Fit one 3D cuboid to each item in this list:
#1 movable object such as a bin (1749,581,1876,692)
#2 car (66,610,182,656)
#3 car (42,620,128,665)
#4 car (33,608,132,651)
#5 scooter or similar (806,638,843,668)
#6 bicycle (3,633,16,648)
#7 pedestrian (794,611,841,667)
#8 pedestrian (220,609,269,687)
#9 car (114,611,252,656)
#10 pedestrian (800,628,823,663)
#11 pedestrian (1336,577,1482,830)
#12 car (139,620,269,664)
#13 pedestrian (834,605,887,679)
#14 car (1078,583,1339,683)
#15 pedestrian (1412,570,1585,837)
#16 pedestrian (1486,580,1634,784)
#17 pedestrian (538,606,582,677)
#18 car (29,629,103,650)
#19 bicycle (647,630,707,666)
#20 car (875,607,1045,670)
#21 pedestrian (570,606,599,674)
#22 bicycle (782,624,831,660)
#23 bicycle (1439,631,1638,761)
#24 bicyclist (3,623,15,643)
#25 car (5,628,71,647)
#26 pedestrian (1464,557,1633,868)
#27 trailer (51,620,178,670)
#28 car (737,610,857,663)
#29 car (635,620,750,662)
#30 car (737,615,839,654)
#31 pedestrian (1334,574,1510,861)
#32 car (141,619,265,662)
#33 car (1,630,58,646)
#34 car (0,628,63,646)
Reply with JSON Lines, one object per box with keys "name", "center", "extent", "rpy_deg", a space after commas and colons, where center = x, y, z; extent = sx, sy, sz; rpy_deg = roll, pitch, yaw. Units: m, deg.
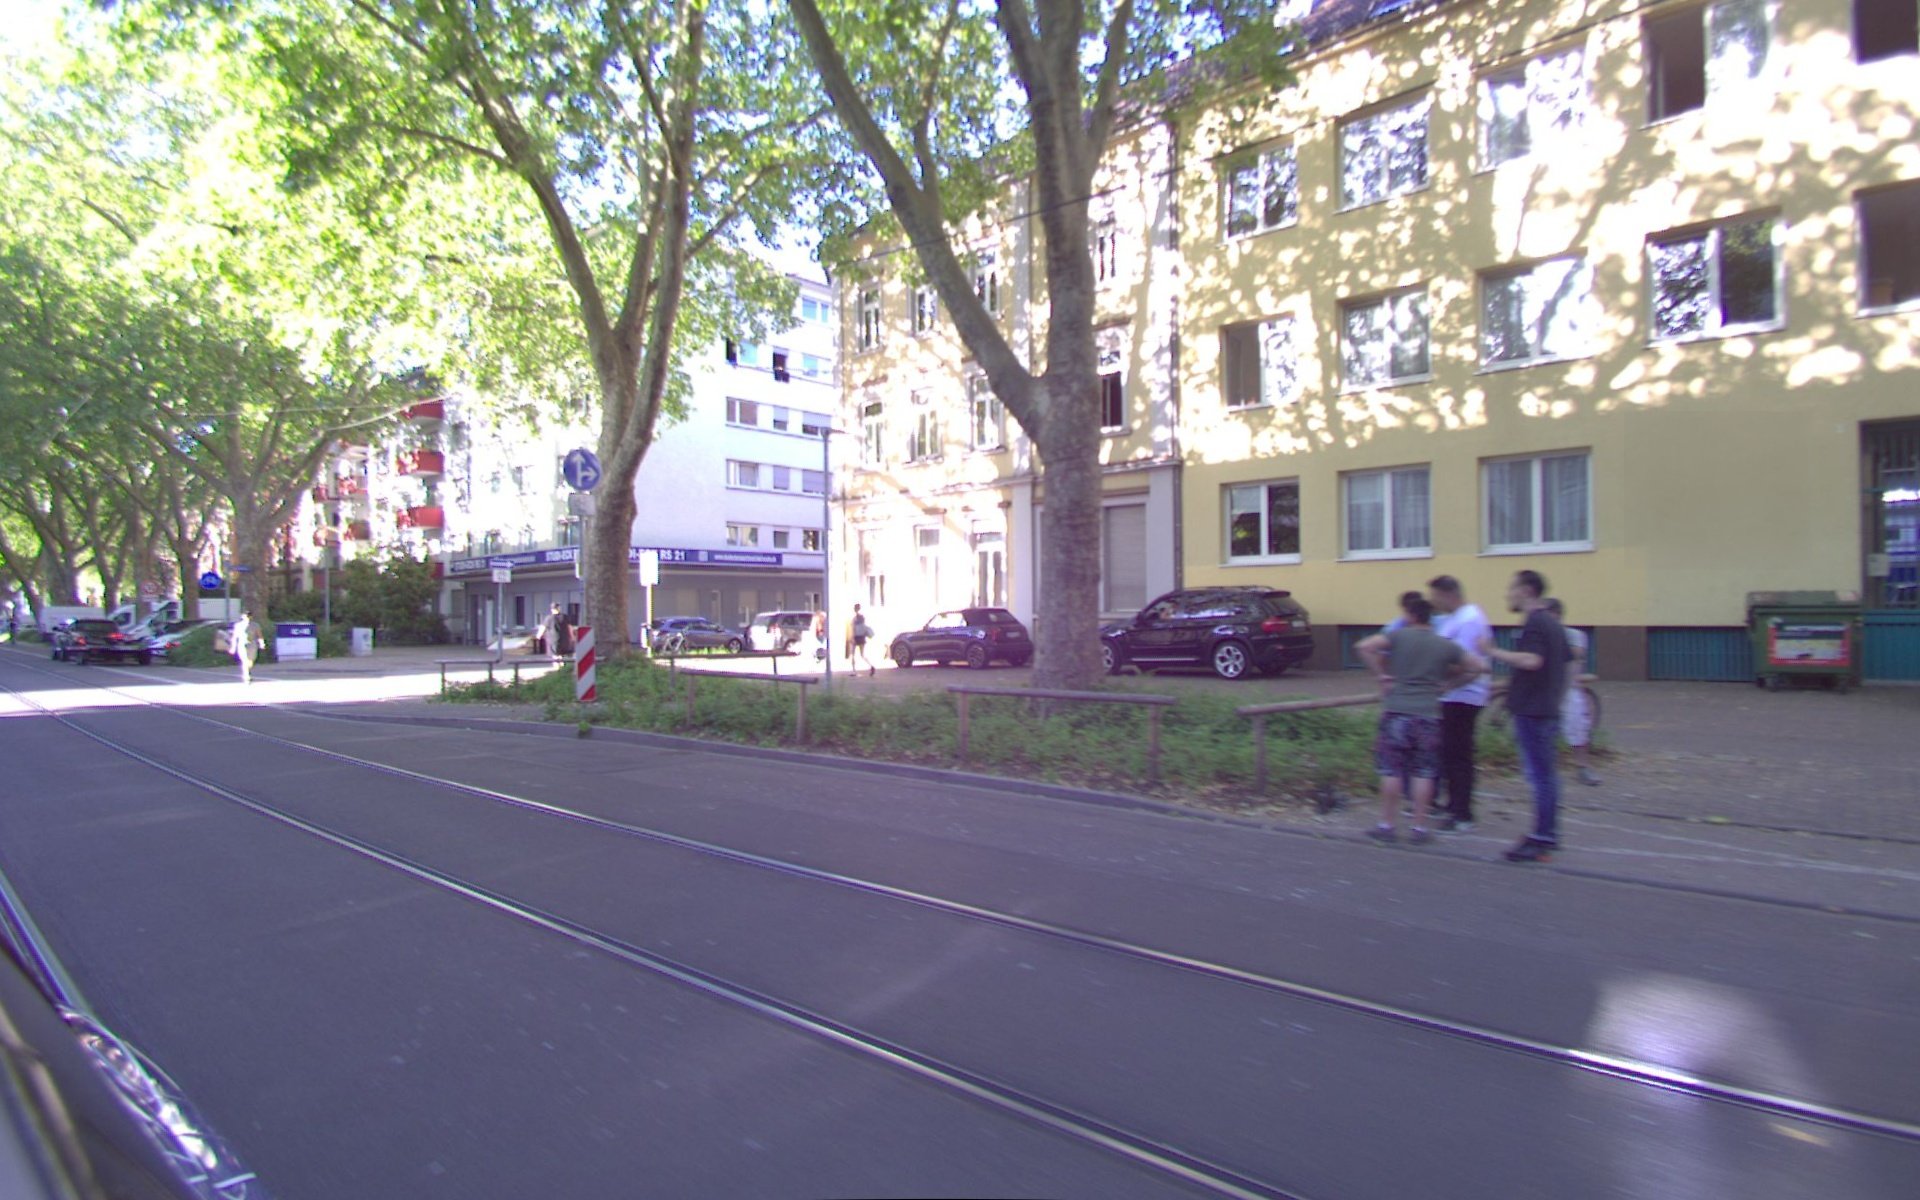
{"name": "movable object such as a bin", "center": [12.387, 0.500, 14.721], "extent": [1.343, 1.513, 1.217], "rpy_deg": [-1, 0, 41]}
{"name": "car", "center": [-45.244, 1.746, 54.830], "extent": [2.000, 2.323, 4.599], "rpy_deg": [-1, 0, 42]}
{"name": "car", "center": [-34.552, 1.662, 39.927], "extent": [4.180, 1.696, 1.903], "rpy_deg": [-1, -3, 41]}
{"name": "car", "center": [-56.061, 1.839, 64.727], "extent": [2.000, 2.552, 4.599], "rpy_deg": [-1, 0, 42]}
{"name": "scooter or similar", "center": [-3.632, 1.410, 27.160], "extent": [0.896, 0.759, 0.522], "rpy_deg": [-1, 0, 41]}
{"name": "bicycle", "center": [-61.011, 2.584, 64.955], "extent": [1.557, 0.913, 0.526], "rpy_deg": [-1, 0, 43]}
{"name": "pedestrian", "center": [-3.916, 1.063, 27.848], "extent": [1.068, 1.490, 0.764], "rpy_deg": [-1, 0, 41]}
{"name": "pedestrian", "center": [-17.097, 1.131, 24.185], "extent": [0.798, 1.805, 0.693], "rpy_deg": [-1, 0, 30]}
{"name": "car", "center": [-38.127, 1.591, 49.770], "extent": [1.997, 2.010, 5.072], "rpy_deg": [-1, 0, 37]}
{"name": "pedestrian", "center": [-4.532, 1.400, 30.966], "extent": [0.540, 1.048, 0.541], "rpy_deg": [-1, 0, 9]}
{"name": "pedestrian", "center": [3.340, 0.717, 7.533], "extent": [0.759, 1.748, 0.718], "rpy_deg": [-1, -1, -41]}
{"name": "car", "center": [-30.852, 1.658, 41.384], "extent": [1.908, 1.622, 3.946], "rpy_deg": [-1, 0, 40]}
{"name": "pedestrian", "center": [-2.301, 0.959, 23.319], "extent": [1.009, 1.650, 0.704], "rpy_deg": [-1, 0, 40]}
{"name": "car", "center": [4.811, 0.606, 20.105], "extent": [4.697, 1.750, 1.971], "rpy_deg": [-1, 0, 44]}
{"name": "pedestrian", "center": [3.727, 0.681, 7.055], "extent": [0.759, 1.748, 0.715], "rpy_deg": [-1, 0, -6]}
{"name": "pedestrian", "center": [5.007, 0.657, 8.485], "extent": [0.759, 1.622, 0.715], "rpy_deg": [-1, 0, -6]}
{"name": "pedestrian", "center": [-10.175, 1.044, 25.750], "extent": [0.731, 1.770, 0.734], "rpy_deg": [-1, 0, 25]}
{"name": "car", "center": [-67.467, 2.958, 76.411], "extent": [1.999, 1.478, 3.946], "rpy_deg": [-1, 0, 40]}
{"name": "bicycle", "center": [-9.024, 1.509, 32.334], "extent": [0.655, 1.070, 1.846], "rpy_deg": [-1, 0, 34]}
{"name": "car", "center": [-0.044, 0.905, 24.953], "extent": [3.997, 1.398, 1.761], "rpy_deg": [-1, 0, 40]}
{"name": "pedestrian", "center": [-10.121, 1.059, 27.285], "extent": [0.658, 1.793, 0.726], "rpy_deg": [0, 0, -16]}
{"name": "bicycle", "center": [-5.011, 1.379, 33.206], "extent": [0.652, 1.070, 1.852], "rpy_deg": [-5, -2, 24]}
{"name": "bicycle", "center": [5.437, 0.866, 9.497], "extent": [1.820, 1.088, 0.571], "rpy_deg": [-1, 0, -21]}
{"name": "bicyclist", "center": [-61.010, 2.125, 64.938], "extent": [0.666, 1.222, 0.526], "rpy_deg": [-1, -1, 43]}
{"name": "car", "center": [-78.291, 3.152, 85.922], "extent": [1.999, 1.478, 3.946], "rpy_deg": [-1, 0, 40]}
{"name": "pedestrian", "center": [3.691, 0.651, 6.348], "extent": [0.770, 1.790, 0.704], "rpy_deg": [-1, -1, 42]}
{"name": "trailer", "center": [-30.427, 1.588, 36.339], "extent": [6.580, 1.644, 2.421], "rpy_deg": [-1, -4, 41]}
{"name": "car", "center": [-5.810, 1.281, 36.334], "extent": [1.799, 1.650, 3.959], "rpy_deg": [-6, -4, 41]}
{"name": "car", "center": [-10.538, 1.578, 40.074], "extent": [1.834, 1.489, 4.098], "rpy_deg": [-1, 0, 42]}
{"name": "car", "center": [-7.375, 1.462, 43.667], "extent": [1.896, 1.619, 4.098], "rpy_deg": [-1, -2, 42]}
{"name": "pedestrian", "center": [2.997, 0.719, 6.631], "extent": [0.702, 1.748, 0.772], "rpy_deg": [-1, 0, -10]}
{"name": "car", "center": [-32.591, 1.698, 43.621], "extent": [1.999, 1.657, 3.946], "rpy_deg": [-1, 0, 40]}
{"name": "car", "center": [-90.989, 3.688, 98.965], "extent": [1.999, 1.478, 3.946], "rpy_deg": [-1, 0, 40]}
{"name": "car", "center": [-80.843, 3.200, 88.069], "extent": [1.999, 1.478, 3.946], "rpy_deg": [-1, 0, 40]}
